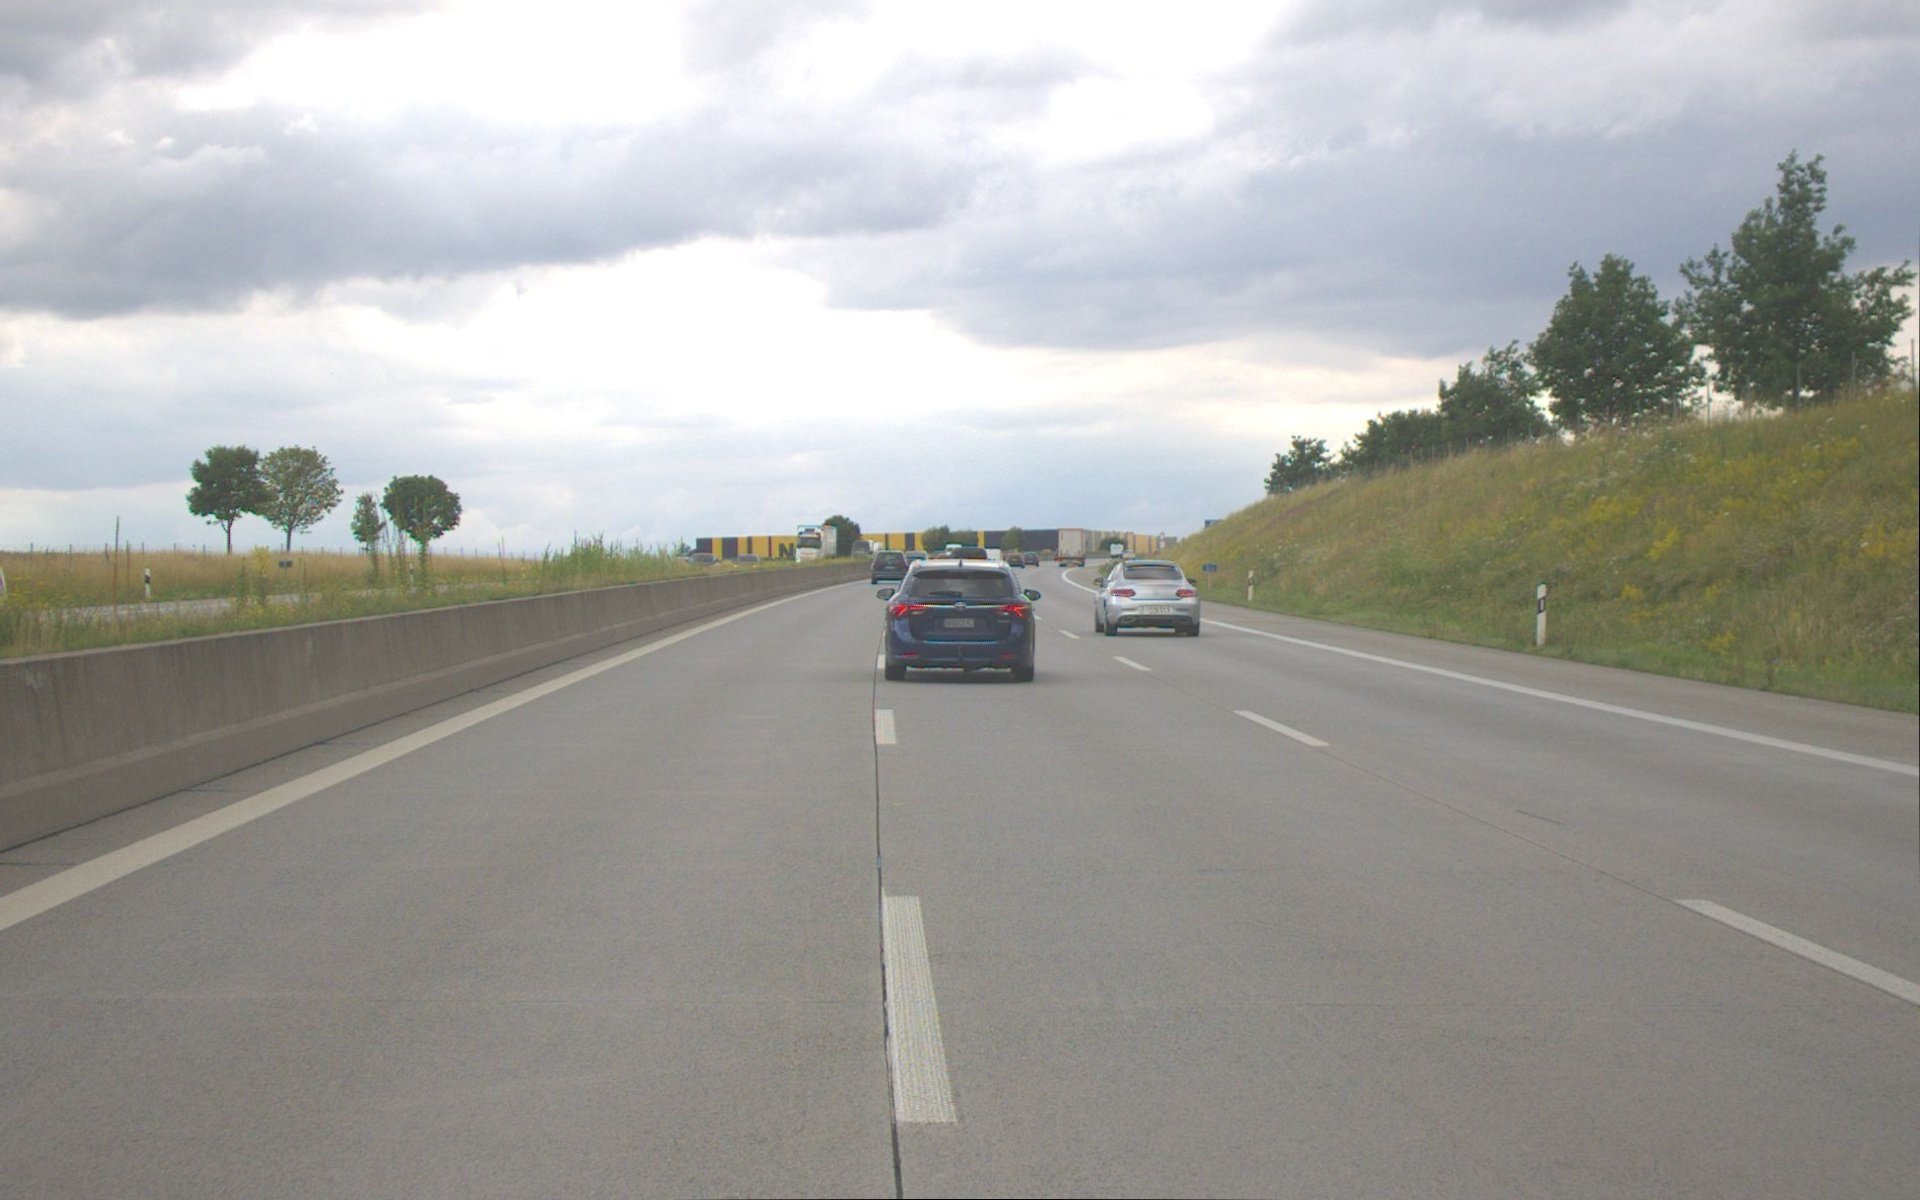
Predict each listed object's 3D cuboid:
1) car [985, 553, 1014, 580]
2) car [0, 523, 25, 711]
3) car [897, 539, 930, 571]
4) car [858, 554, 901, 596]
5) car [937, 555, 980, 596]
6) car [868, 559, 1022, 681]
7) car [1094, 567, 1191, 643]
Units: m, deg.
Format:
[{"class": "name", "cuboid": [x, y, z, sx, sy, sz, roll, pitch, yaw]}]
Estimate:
[{"class": "car", "cuboid": [3.023, -2.526, 262.124, 1.994, 2.007, 3.999, 1, 0, 3]}, {"class": "car", "cuboid": [-10.836, 0.164, 34.191, 1.812, 1.956, 5.341, 1, 0, -2]}, {"class": "car", "cuboid": [-2.991, -2.876, 220.868, 1.993, 2.007, 4.000, 1, 0, -2]}, {"class": "car", "cuboid": [-3.944, -1.211, 167.451, 2.046, 2.007, 4.000, 1, 0, -2]}, {"class": "car", "cuboid": [-0.078, -1.207, 170.610, 1.993, 2.007, 4.000, 1, 0, -1]}, {"class": "car", "cuboid": [-0.135, 0.217, 41.665, 1.774, 1.408, 4.000, 0, 0, 1]}, {"class": "car", "cuboid": [3.484, 0.076, 65.876, 1.789, 1.399, 4.221, 0, 0, 3]}]
